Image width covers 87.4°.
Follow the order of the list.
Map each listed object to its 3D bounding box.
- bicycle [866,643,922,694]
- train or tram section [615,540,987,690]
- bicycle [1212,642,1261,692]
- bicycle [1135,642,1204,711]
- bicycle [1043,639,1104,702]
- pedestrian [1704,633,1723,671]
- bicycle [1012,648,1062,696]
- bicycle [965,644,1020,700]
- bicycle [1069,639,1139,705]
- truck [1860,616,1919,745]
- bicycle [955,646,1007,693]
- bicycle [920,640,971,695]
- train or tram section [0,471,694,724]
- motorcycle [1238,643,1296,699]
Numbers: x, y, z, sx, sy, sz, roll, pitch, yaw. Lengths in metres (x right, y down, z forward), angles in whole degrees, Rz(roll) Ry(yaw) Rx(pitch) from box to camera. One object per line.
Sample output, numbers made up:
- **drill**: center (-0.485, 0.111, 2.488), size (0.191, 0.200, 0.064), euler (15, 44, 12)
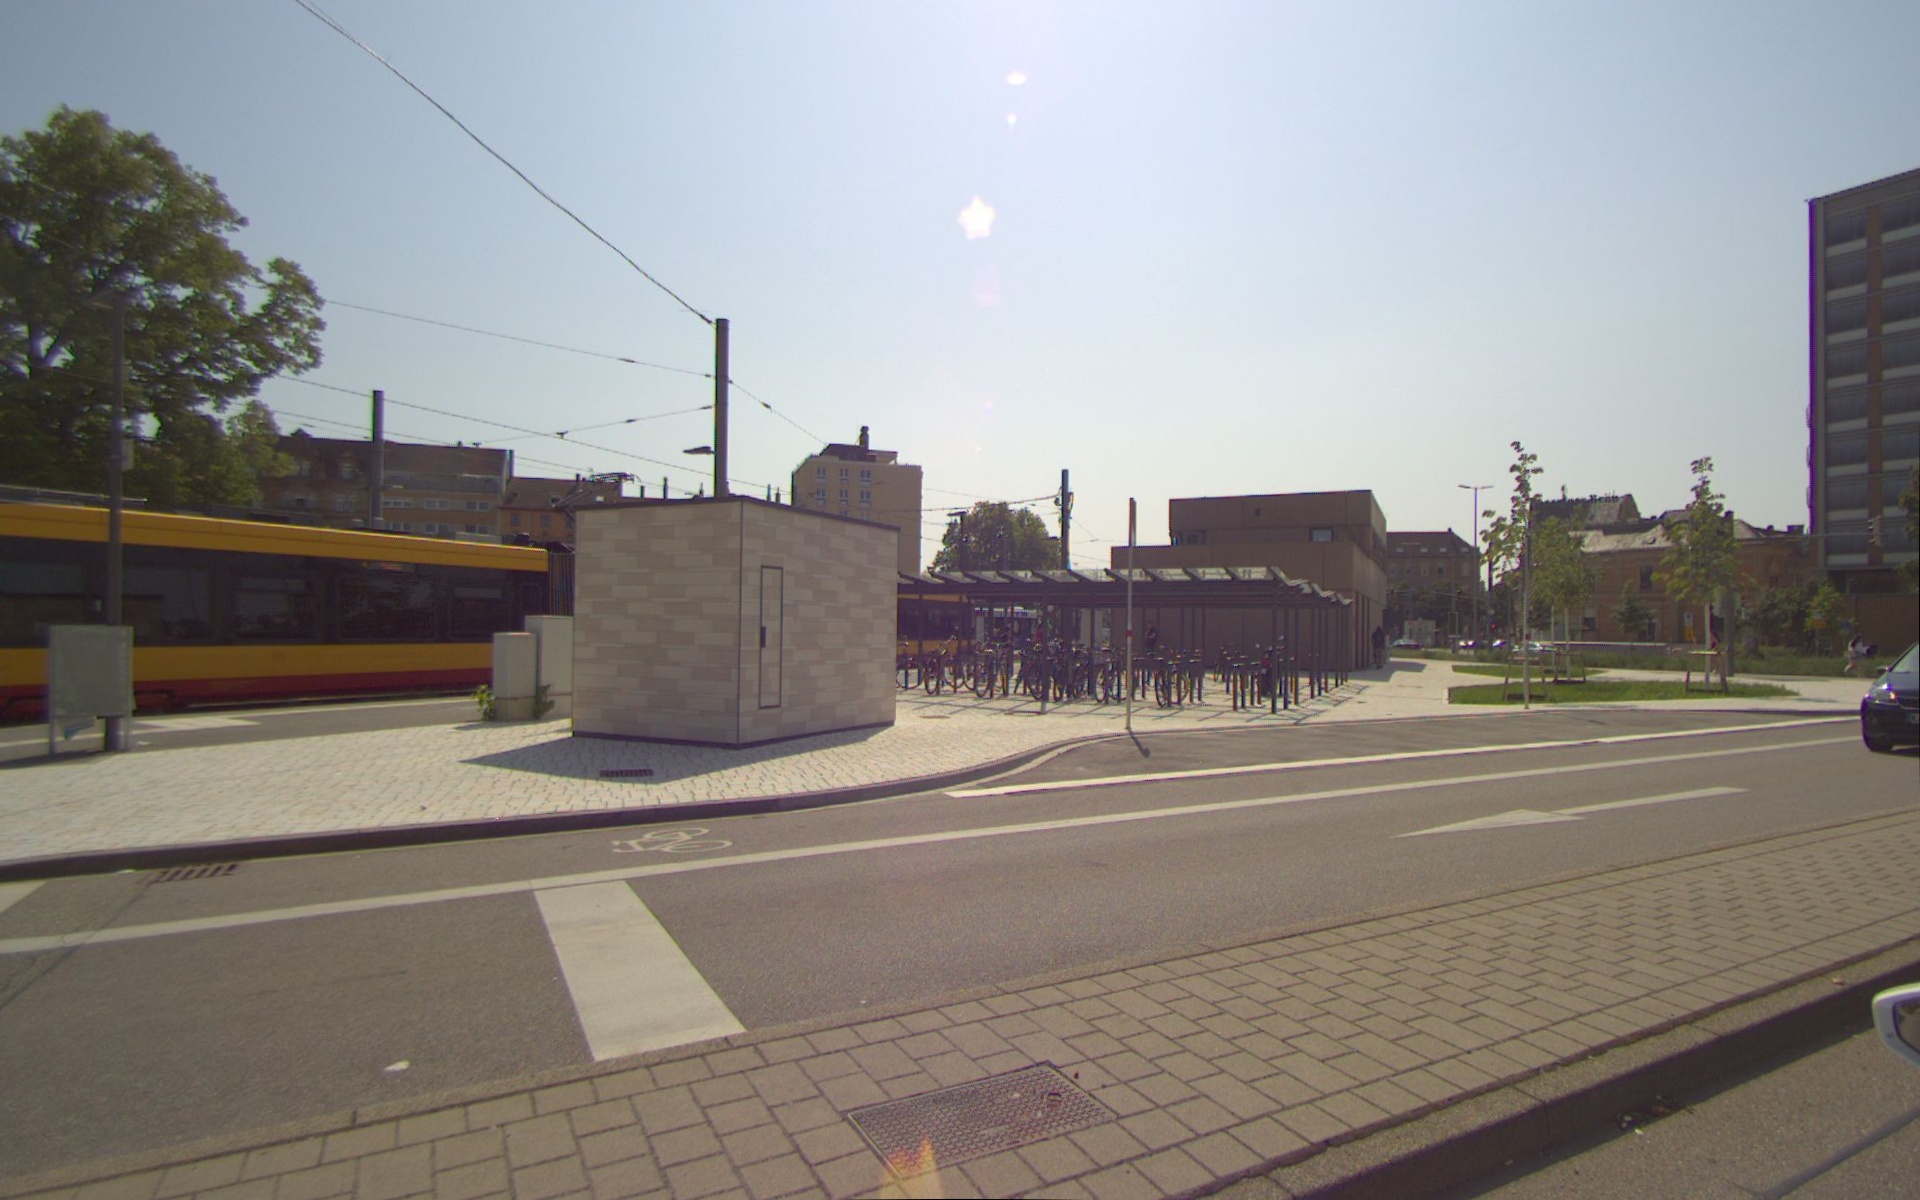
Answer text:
- **bicycle**: center (-1.438, 1.486, 22.106), size (0.457, 1.046, 1.546), euler (1, -1, 28)
- **train or tram section**: center (-4.336, 0.694, 36.724), size (2.842, 4.121, 19.122), euler (1, -2, 26)
- **bicycle**: center (7.186, 1.713, 26.060), size (0.596, 1.226, 1.804), euler (0, -2, 37)
- **bicycle**: center (4.028, 1.439, 19.254), size (0.596, 1.226, 1.804), euler (0, -2, 37)
- **bicycle**: center (2.325, 1.405, 20.443), size (0.532, 1.226, 1.608), euler (0, -2, 34)
- **pedestrian**: center (32.093, 2.213, 42.766), size (0.520, 1.573, 0.417), euler (0, -1, 16)
- **bicycle**: center (1.762, 1.601, 22.724), size (0.457, 1.016, 1.758), euler (1, -1, 28)
- **bicycle**: center (0.698, 1.477, 20.944), size (0.457, 1.077, 1.692), euler (1, -1, 28)
- **bicycle**: center (2.900, 1.408, 20.076), size (0.596, 1.226, 1.804), euler (0, -2, 37)
- **truck**: center (13.016, 0.979, 12.602), size (3.578, 1.524, 1.547), euler (1, -2, -30)
- **bicycle**: center (0.500, 1.590, 23.317), size (0.457, 1.016, 1.758), euler (1, -1, 28)
- **bicycle**: center (-0.299, 1.442, 21.737), size (0.457, 1.115, 1.421), euler (1, -1, 28)
- **train or tram section**: center (-12.386, 0.135, 20.111), size (2.812, 3.595, 17.727), euler (1, -2, 26)
- **motorcycle**: center (7.259, 1.639, 23.688), size (0.596, 1.226, 2.245), euler (0, -2, 37)
